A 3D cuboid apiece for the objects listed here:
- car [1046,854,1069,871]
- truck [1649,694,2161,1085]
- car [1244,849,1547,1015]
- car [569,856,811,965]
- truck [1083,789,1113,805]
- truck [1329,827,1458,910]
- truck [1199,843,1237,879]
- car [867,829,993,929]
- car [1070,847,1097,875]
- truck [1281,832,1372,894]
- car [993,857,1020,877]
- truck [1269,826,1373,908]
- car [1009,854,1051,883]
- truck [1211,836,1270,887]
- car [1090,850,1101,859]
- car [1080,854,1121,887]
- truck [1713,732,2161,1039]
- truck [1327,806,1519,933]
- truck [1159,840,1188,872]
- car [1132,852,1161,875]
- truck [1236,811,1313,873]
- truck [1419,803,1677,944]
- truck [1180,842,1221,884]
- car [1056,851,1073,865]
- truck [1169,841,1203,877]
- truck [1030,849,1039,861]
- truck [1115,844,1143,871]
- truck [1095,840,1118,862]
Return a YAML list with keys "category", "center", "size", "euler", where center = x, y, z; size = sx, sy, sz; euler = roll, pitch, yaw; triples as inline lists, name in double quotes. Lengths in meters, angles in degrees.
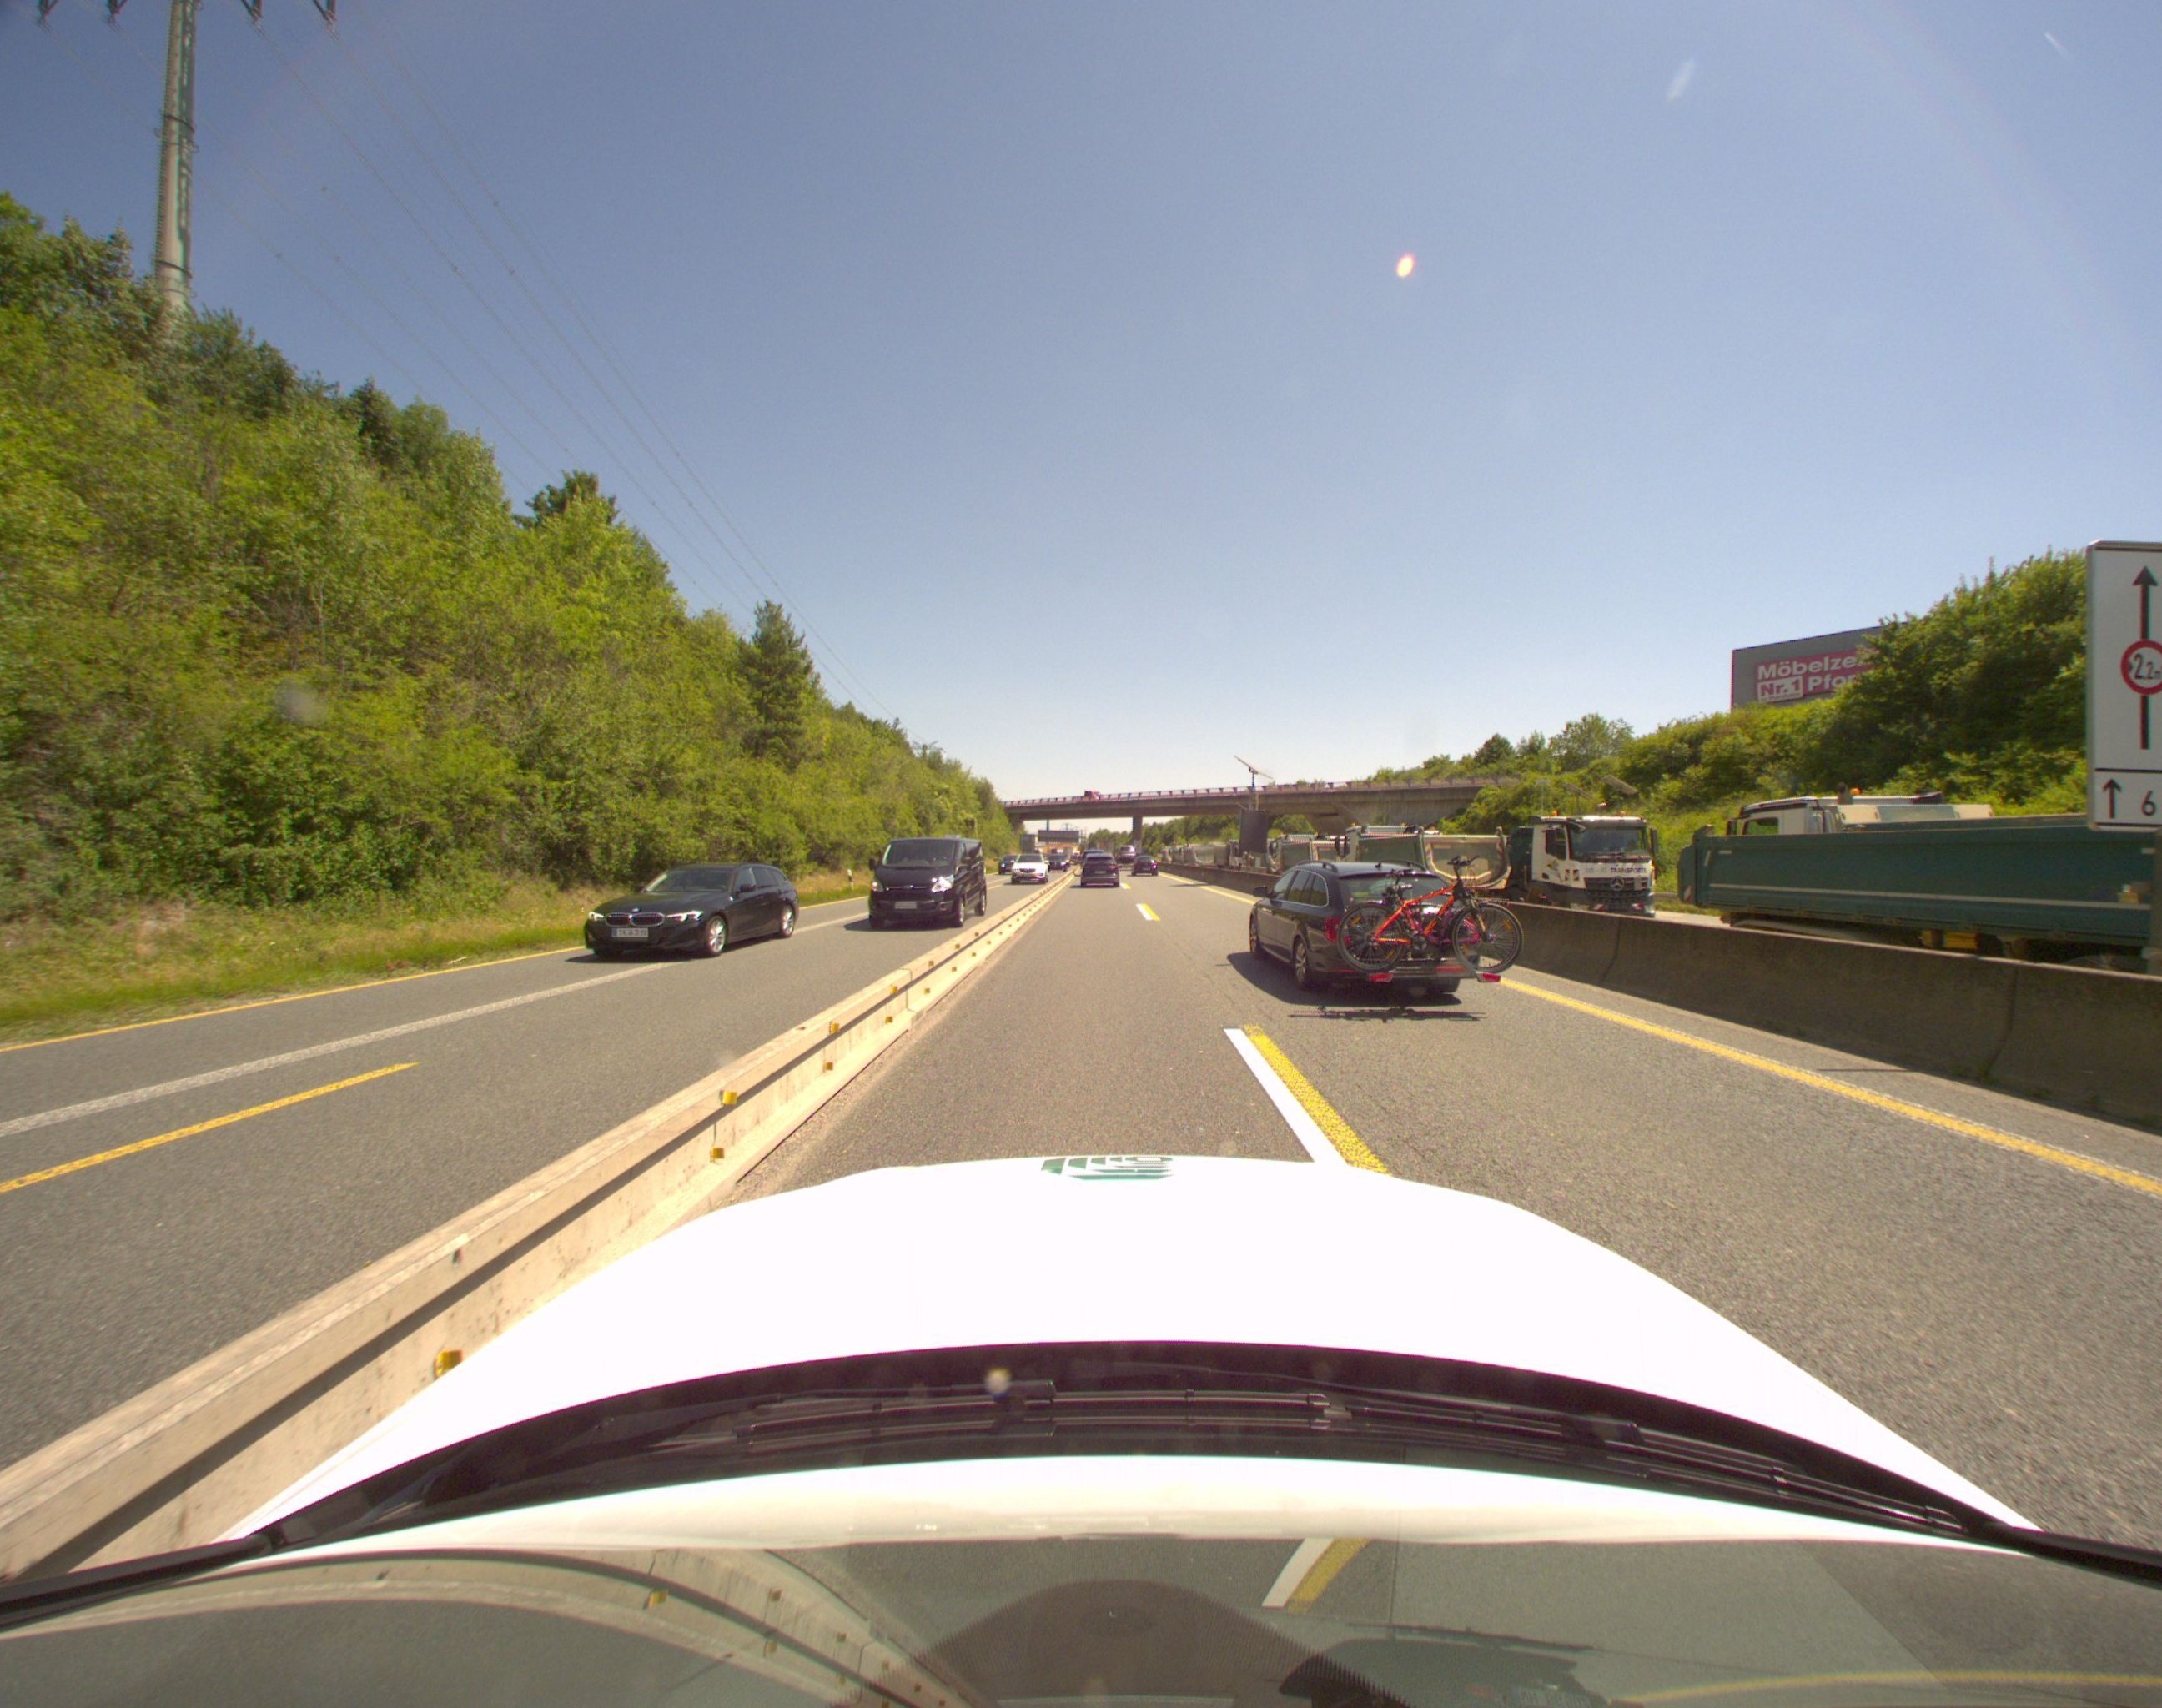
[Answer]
- category: "car"
  center: [-2.085, 0.763, 74.808]
  size: [1.837, 1.533, 4.672]
  euler: [1, 0, 1]
- category: "truck"
  center: [11.130, 0.325, 9.470]
  size: [2.529, 3.557, 9.604]
  euler: [0, 0, 1]
- category: "car"
  center: [3.329, 0.722, 9.822]
  size: [1.892, 1.490, 4.949]
  euler: [0, -1, 2]
- category: "car"
  center: [-6.294, 0.803, 13.801]
  size: [1.786, 1.525, 4.533]
  euler: [0, 0, 2]
- category: "truck"
  center: [2.749, -9.105, 130.250]
  size: [1.945, 2.066, 5.456]
  euler: [1, -1, -35]
- category: "truck"
  center: [14.157, 0.587, 37.885]
  size: [2.677, 3.378, 9.607]
  euler: [0, 0, 2]
- category: "truck"
  center: [14.766, 0.696, 88.445]
  size: [2.678, 3.727, 9.324]
  euler: [0, 0, 0]
- category: "car"
  center: [-3.339, 0.508, 19.001]
  size: [1.883, 2.013, 4.819]
  euler: [0, 0, 2]
- category: "car"
  center: [0.202, 0.527, 60.534]
  size: [1.892, 1.968, 4.278]
  euler: [0, 0, 2]
- category: "truck"
  center: [14.691, 0.491, 49.645]
  size: [2.678, 3.378, 9.601]
  euler: [0, 0, 0]
- category: "car"
  center: [-5.949, 0.998, 65.726]
  size: [1.693, 1.565, 3.996]
  euler: [0, 0, 1]
- category: "truck"
  center: [11.534, 0.558, 40.179]
  size: [2.677, 3.557, 9.410]
  euler: [0, 0, 2]
- category: "car"
  center: [-2.727, 0.755, 44.524]
  size: [1.837, 1.533, 4.672]
  euler: [0, 0, 1]
- category: "truck"
  center: [11.762, 0.542, 61.073]
  size: [2.678, 3.557, 9.324]
  euler: [0, 0, 0]
- category: "car"
  center: [3.207, 0.091, 181.820]
  size: [1.897, 1.968, 4.267]
  euler: [0, 0, -6]
- category: "car"
  center: [0.972, 0.749, 39.299]
  size: [1.892, 1.505, 4.278]
  euler: [0, 0, 2]
- category: "truck"
  center: [13.921, 0.364, 11.540]
  size: [2.677, 3.557, 9.605]
  euler: [0, 0, 1]
- category: "truck"
  center: [11.024, 0.431, 27.603]
  size: [2.677, 3.557, 9.605]
  euler: [0, 0, 1]
- category: "truck"
  center: [11.651, 0.245, 102.972]
  size: [2.678, 3.843, 9.325]
  euler: [0, 0, 1]
- category: "car"
  center: [4.725, 0.693, 59.243]
  size: [1.892, 1.585, 4.278]
  euler: [0, 0, 2]
- category: "truck"
  center: [11.989, -0.697, 51.350]
  size: [2.678, 3.557, 9.324]
  euler: [0, 0, 0]
- category: "truck"
  center: [13.727, 0.489, 25.283]
  size: [2.678, 3.557, 9.604]
  euler: [0, 0, 1]
- category: "truck"
  center: [11.503, 0.827, 78.981]
  size: [2.678, 3.761, 9.325]
  euler: [0, 0, 1]
- category: "car"
  center: [-1.969, 0.462, 100.147]
  size: [1.837, 1.610, 4.700]
  euler: [1, 0, 1]
- category: "truck"
  center: [11.575, 0.542, 90.497]
  size: [2.678, 3.856, 9.325]
  euler: [0, 0, 1]
- category: "truck"
  center: [-13.137, 0.304, 228.658]
  size: [2.503, 3.186, 10.095]
  euler: [0, 0, -4]
- category: "truck"
  center: [4.660, 0.276, 80.528]
  size: [2.398, 2.558, 7.499]
  euler: [0, 0, 0]
- category: "truck"
  center: [4.515, -0.573, 146.905]
  size: [3.286, 3.845, 10.095]
  euler: [0, 0, -4]
